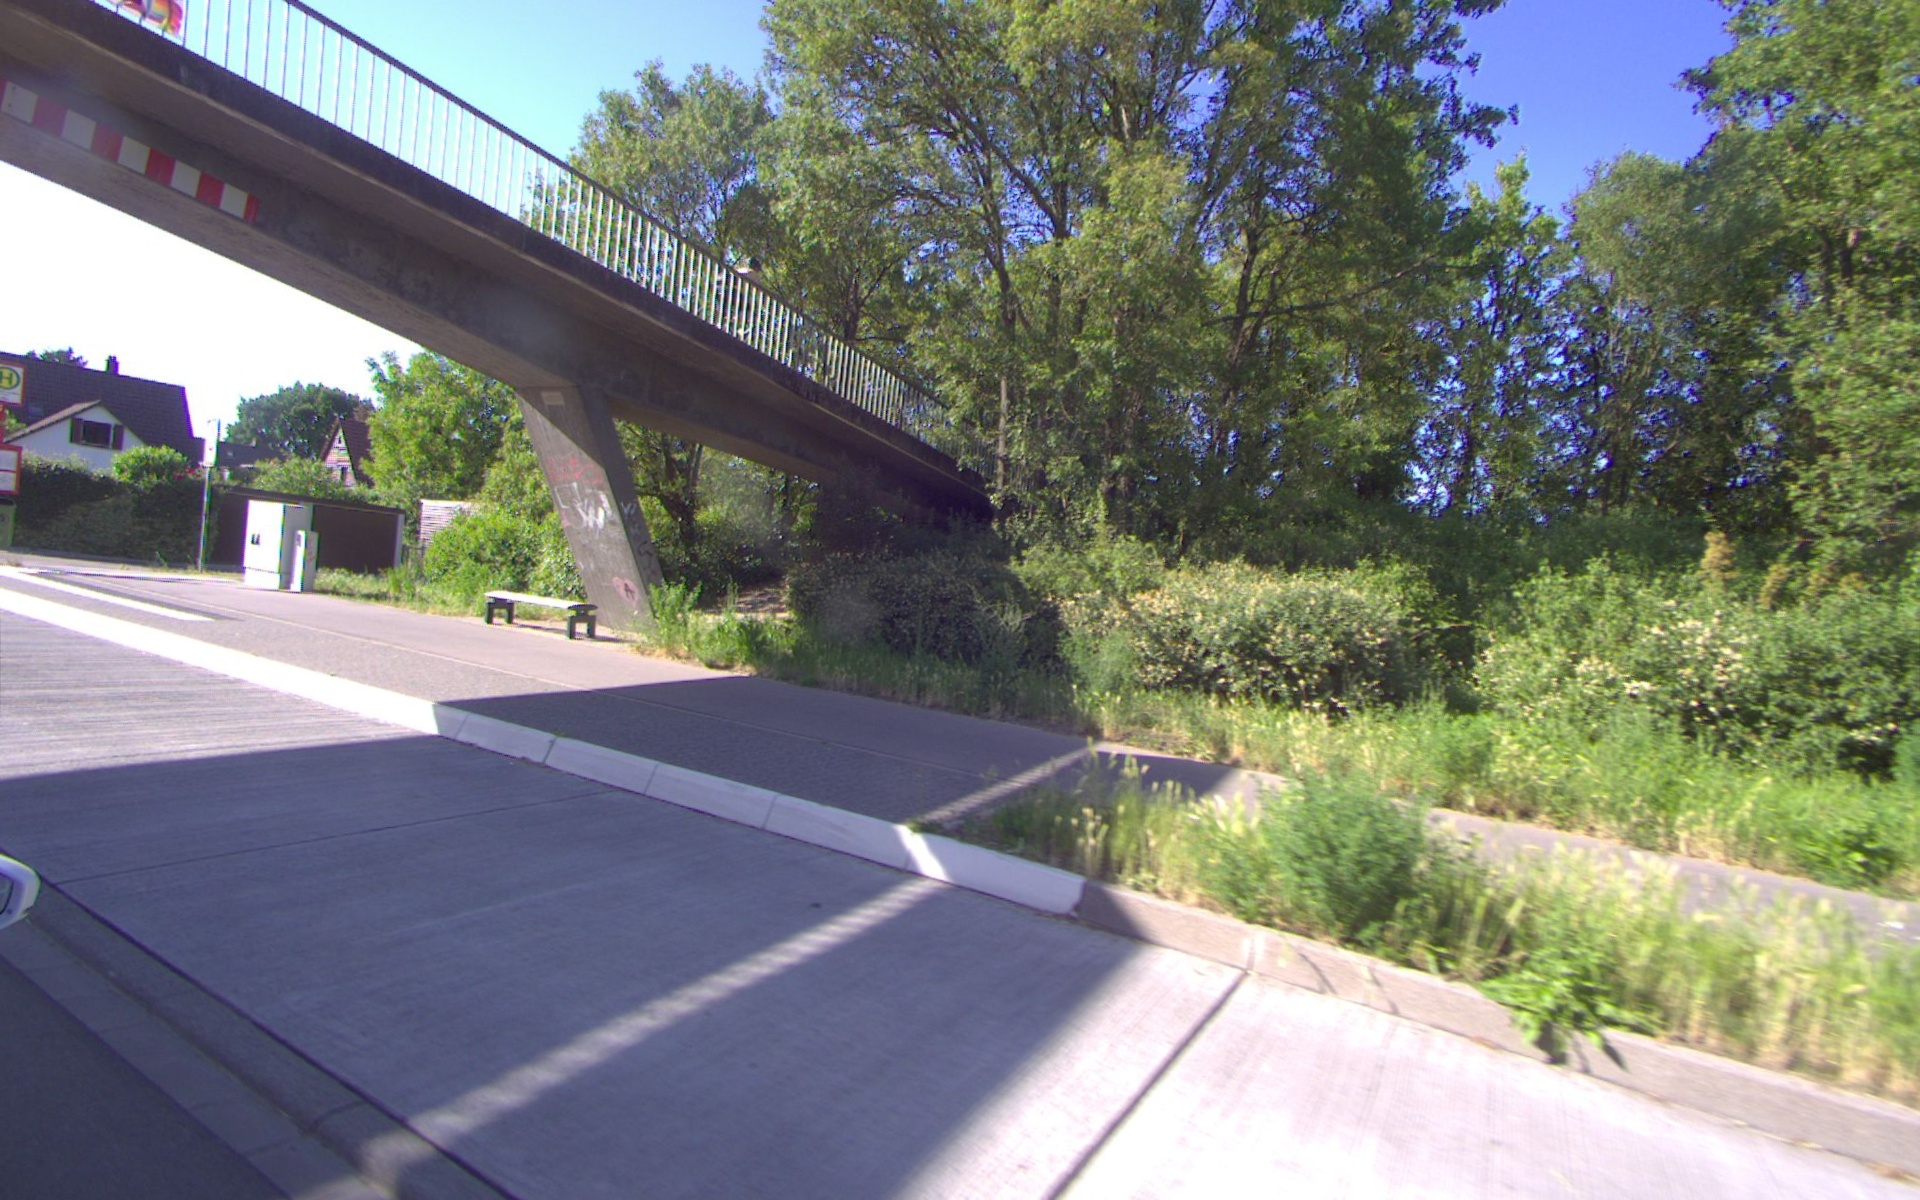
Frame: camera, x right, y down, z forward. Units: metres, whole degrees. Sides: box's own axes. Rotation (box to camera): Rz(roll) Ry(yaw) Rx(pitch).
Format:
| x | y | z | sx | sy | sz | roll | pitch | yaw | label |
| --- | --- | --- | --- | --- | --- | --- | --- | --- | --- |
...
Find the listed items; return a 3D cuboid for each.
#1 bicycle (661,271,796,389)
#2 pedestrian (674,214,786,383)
| x | y | z | sx | sy | sz | roll | pitch | yaw | label |
| --- | --- | --- | --- | --- | --- | --- | --- | --- | --- |
| -3.467 | -4.034 | 15.247 | 0.715 | 1.120 | 1.993 | 7 | -1 | 30 | bicycle |
| -3.435 | -4.455 | 15.068 | 0.980 | 2.150 | 1.067 | 7 | 1 | 29 | pedestrian |
